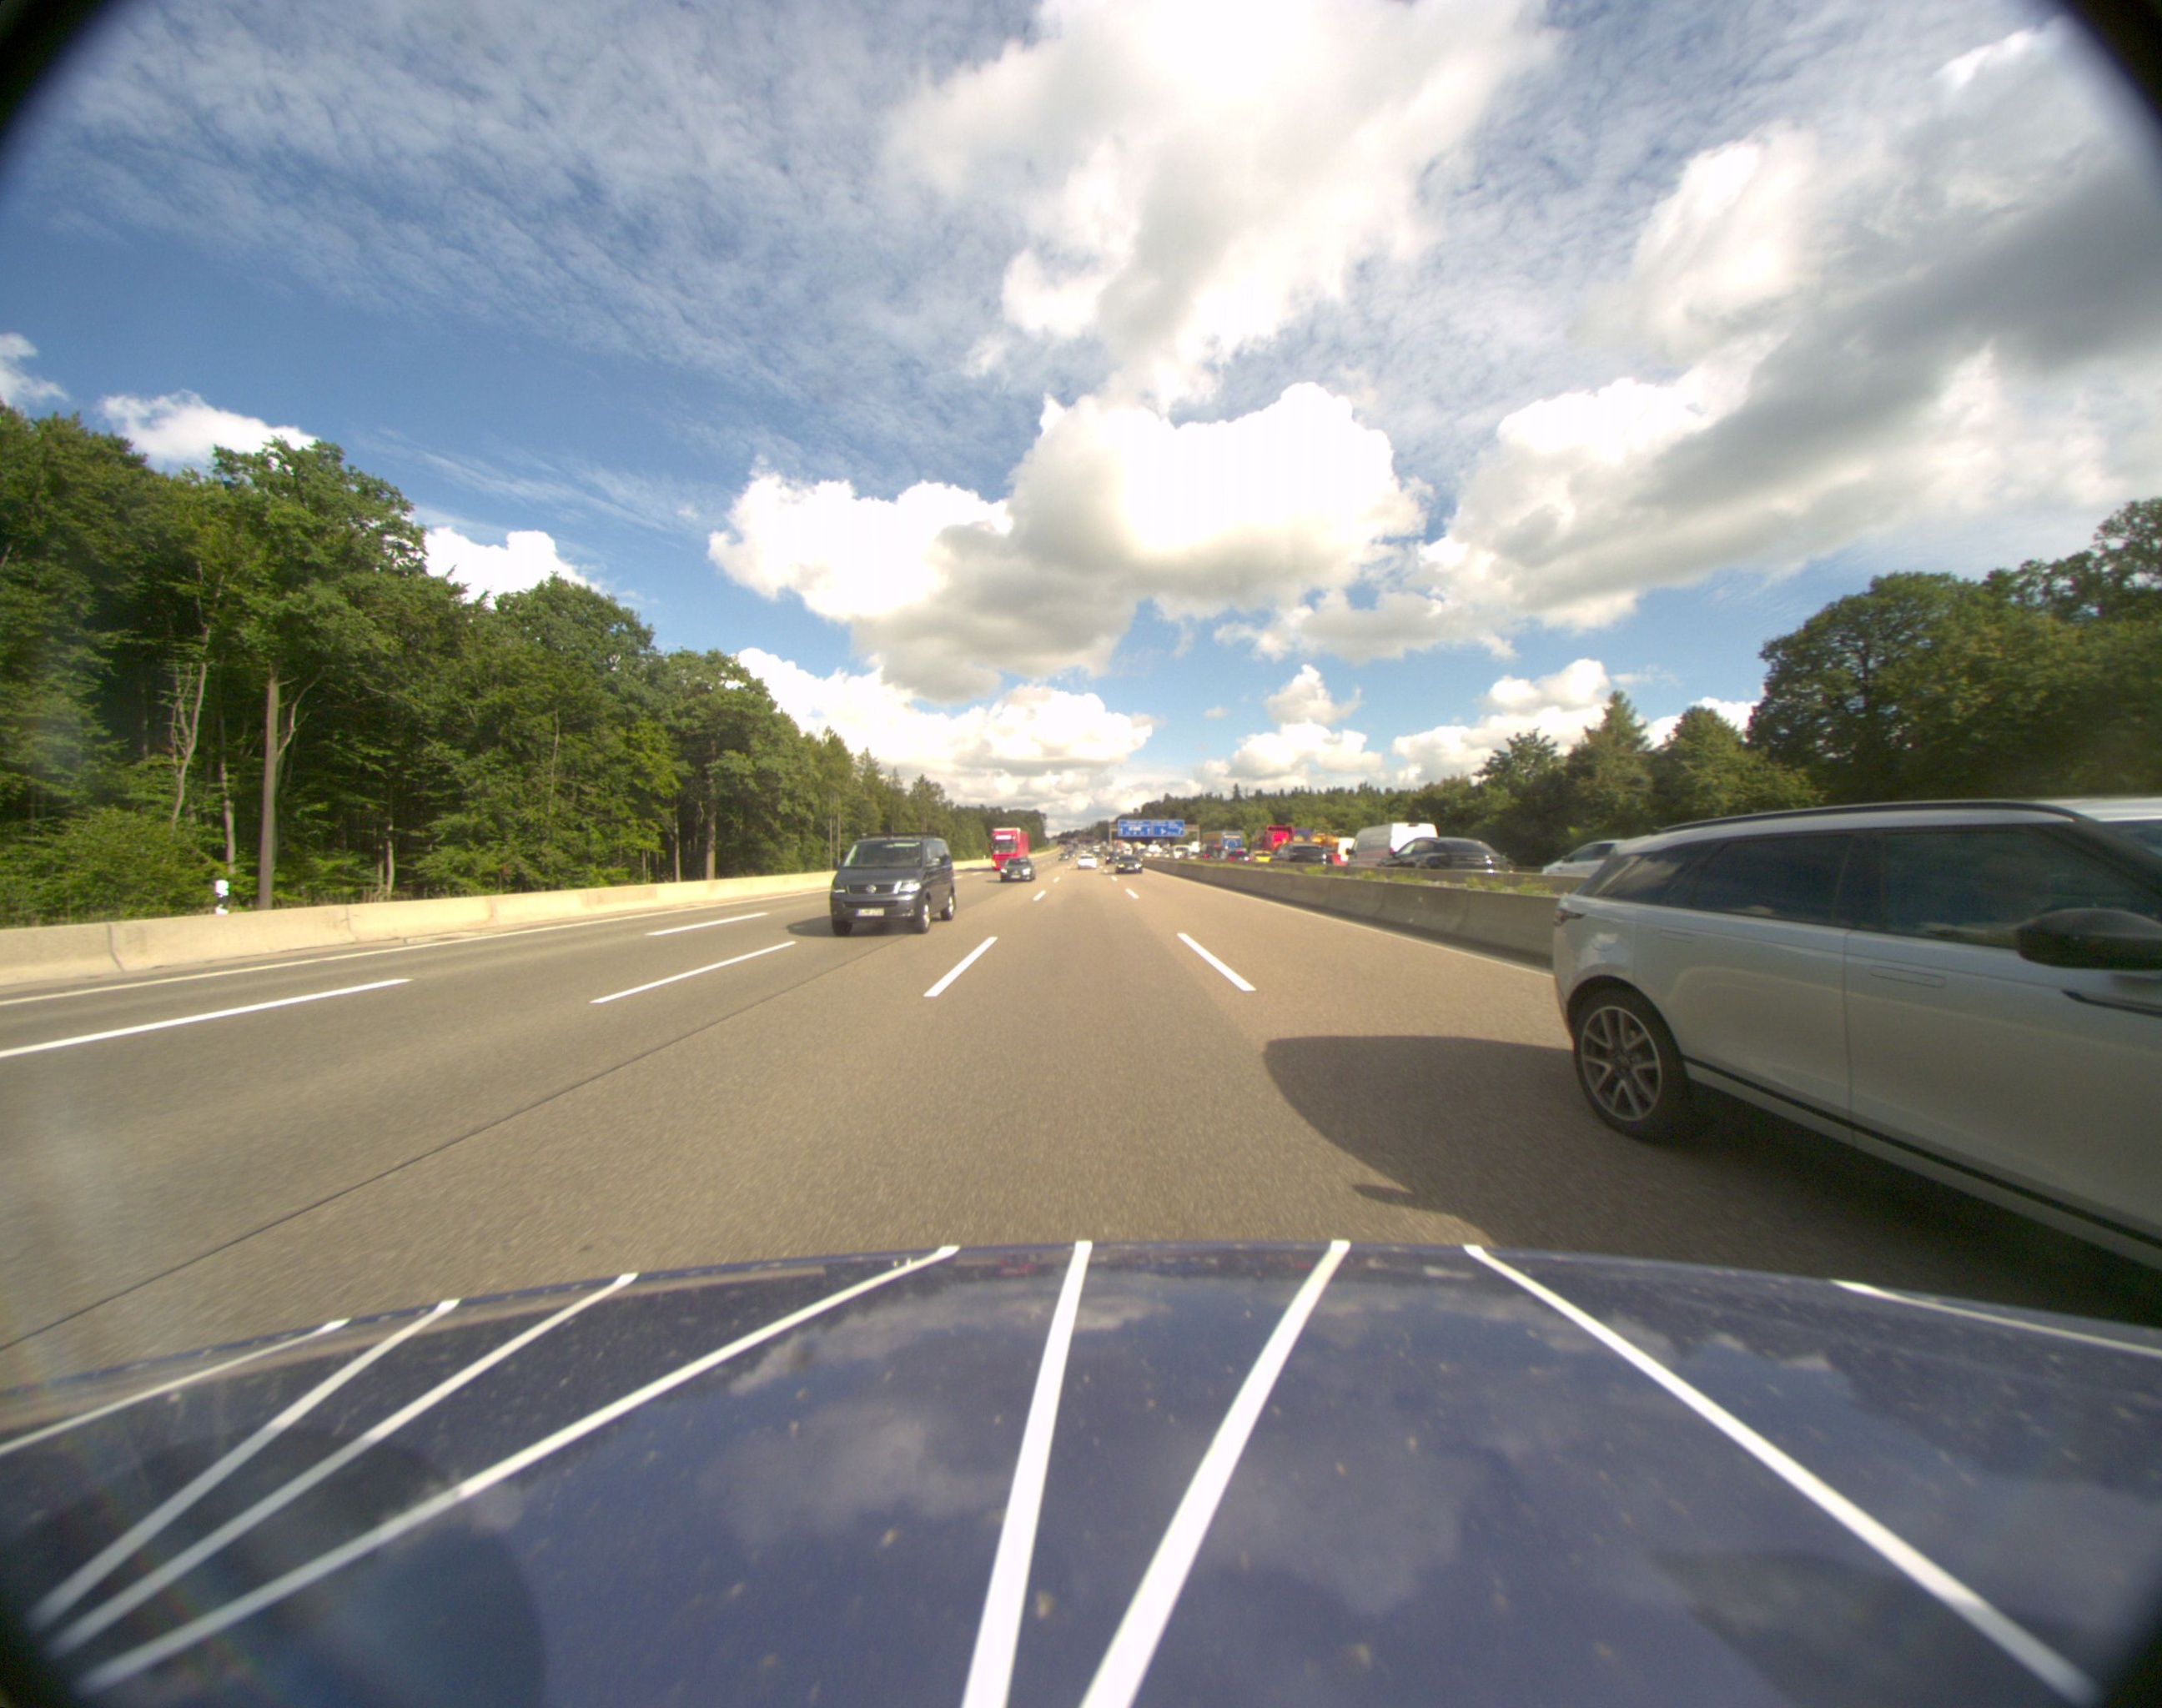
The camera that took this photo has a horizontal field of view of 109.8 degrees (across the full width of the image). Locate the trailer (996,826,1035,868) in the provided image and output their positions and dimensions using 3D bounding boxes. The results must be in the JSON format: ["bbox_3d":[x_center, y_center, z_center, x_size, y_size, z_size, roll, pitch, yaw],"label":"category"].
[{"bbox_3d":[-6.854,-0.867,81.102,2.531,4.096,14.374,-1,1,1],"label":"trailer"}]

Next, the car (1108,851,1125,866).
[{"bbox_3d":[4.399,0.548,95.281,1.911,1.582,4.286,-2,2,0],"label":"car"}]

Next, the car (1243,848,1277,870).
[{"bbox_3d":[13.965,0.341,59.448,1.640,1.582,3.999,-2,1,-1],"label":"car"}]

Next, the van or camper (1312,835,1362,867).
[{"bbox_3d":[25.930,-0.372,77.327,2.579,3.060,7.194,-2,1,-1],"label":"van or camper"}]

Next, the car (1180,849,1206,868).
[{"bbox_3d":[10.184,0.415,69.474,1.728,1.594,3.999,-2,1,-1],"label":"car"}]

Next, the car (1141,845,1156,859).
[{"bbox_3d":[10.379,-0.294,116.600,1.998,2.002,4.408,-1,2,1],"label":"car"}]

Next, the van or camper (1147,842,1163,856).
[{"bbox_3d":[14.878,-1.053,153.225,2.397,2.696,6.629,-2,2,0],"label":"van or camper"}]

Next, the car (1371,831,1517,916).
[{"bbox_3d":[9.591,0.467,20.529,1.887,2.002,4.519,-1,0,2],"label":"car"}]

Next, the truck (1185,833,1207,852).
[{"bbox_3d":[18.465,-1.877,122.459,2.334,2.785,7.948,-3,1,0],"label":"truck"}]

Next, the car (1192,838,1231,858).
[{"bbox_3d":[9.917,-0.457,58.208,1.819,1.341,6.231,-2,1,-1],"label":"car"}]

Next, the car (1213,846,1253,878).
[{"bbox_3d":[9.792,0.478,49.231,1.691,1.806,4.294,-2,2,0],"label":"car"}]

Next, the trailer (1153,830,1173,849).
[{"bbox_3d":[18.410,-3.455,171.106,2.837,3.953,15.999,-2,2,0],"label":"trailer"}]

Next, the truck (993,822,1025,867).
[{"bbox_3d":[-7.009,-0.945,74.164,2.532,4.179,4.652,-1,2,0],"label":"truck"}]

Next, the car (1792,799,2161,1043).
[{"bbox_3d":[9.829,0.530,6.988,1.910,2.002,5.091,-1,0,2],"label":"car"}]

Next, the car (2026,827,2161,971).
[{"bbox_3d":[13.295,0.538,7.643,1.998,1.587,4.523,-2,2,2],"label":"car"}]

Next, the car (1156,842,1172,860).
[{"bbox_3d":[14.237,-0.460,131.108,1.998,2.946,5.402,-3,1,0],"label":"car"}]

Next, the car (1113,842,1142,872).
[{"bbox_3d":[3.377,0.202,55.459,1.919,2.002,4.000,-2,0,2],"label":"car"}]

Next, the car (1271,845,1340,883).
[{"bbox_3d":[10.050,0.394,34.375,1.841,1.582,4.288,0,1,-1],"label":"car"}]

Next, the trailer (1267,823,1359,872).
[{"bbox_3d":[18.001,-0.473,60.395,2.735,3.316,14.217,-2,0,-1],"label":"trailer"}]

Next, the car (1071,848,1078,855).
[{"bbox_3d":[-1.630,-0.665,193.070,1.804,1.865,3.950,-1,1,0],"label":"car"}]

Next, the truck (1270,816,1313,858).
[{"bbox_3d":[21.826,-1.696,79.028,2.819,4.125,5.452,-2,1,-1],"label":"truck"}]

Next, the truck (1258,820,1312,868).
[{"bbox_3d":[17.923,-0.856,67.325,2.783,3.915,6.852,-2,1,-1],"label":"truck"}]

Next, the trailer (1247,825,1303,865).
[{"bbox_3d":[21.933,-1.231,86.959,2.816,4.097,14.036,-2,2,1],"label":"trailer"}]

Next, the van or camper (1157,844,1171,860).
[{"bbox_3d":[15.373,-0.430,141.383,2.050,2.696,5.749,-2,2,1],"label":"van or camper"}]

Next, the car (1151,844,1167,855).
[{"bbox_3d":[10.509,-0.605,102.666,1.761,1.369,3.999,-2,1,-1],"label":"car"}]

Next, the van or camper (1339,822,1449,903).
[{"bbox_3d":[13.686,0.316,33.710,2.144,3.154,6.243,-2,1,-1],"label":"van or camper"}]

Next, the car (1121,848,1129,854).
[{"bbox_3d":[10.981,-0.851,189.698,1.700,1.364,4.000,-3,0,1],"label":"car"}]

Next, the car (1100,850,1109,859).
[{"bbox_3d":[5.108,0.121,167.679,1.804,1.783,3.757,-1,1,0],"label":"car"}]

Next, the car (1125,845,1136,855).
[{"bbox_3d":[11.202,-1.010,171.831,1.998,2.088,5.276,-2,2,1],"label":"car"}]

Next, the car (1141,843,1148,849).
[{"bbox_3d":[20.002,-2.656,239.219,1.804,1.865,3.950,-1,1,0],"label":"car"}]

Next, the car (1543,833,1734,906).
[{"bbox_3d":[13.959,0.303,19.369,1.998,1.587,3.999,-2,2,2],"label":"car"}]

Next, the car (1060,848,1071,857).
[{"bbox_3d":[-2.865,-0.284,142.477,1.911,1.582,4.285,-2,2,-2],"label":"car"}]

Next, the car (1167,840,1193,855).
[{"bbox_3d":[10.219,-0.689,78.944,1.854,1.347,5.486,-2,2,0],"label":"car"}]

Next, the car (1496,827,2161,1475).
[{"bbox_3d":[3.635,0.725,2.328,1.905,1.597,5.104,-2,1,0],"label":"car"}]

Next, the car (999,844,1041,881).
[{"bbox_3d":[-3.518,0.469,44.766,1.998,2.002,4.000,-1,0,2],"label":"car"}]

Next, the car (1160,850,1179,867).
[{"bbox_3d":[10.487,0.459,90.334,1.691,1.806,4.294,-2,2,0],"label":"car"}]

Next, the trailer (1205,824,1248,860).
[{"bbox_3d":[18.496,-1.662,97.657,2.778,4.211,13.654,-2,2,0],"label":"trailer"}]

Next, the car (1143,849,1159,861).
[{"bbox_3d":[10.894,0.114,118.164,1.998,1.733,4.294,-3,1,0],"label":"car"}]

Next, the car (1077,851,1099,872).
[{"bbox_3d":[0.700,0.712,74.843,1.998,2.002,4.000,-2,0,2],"label":"car"}]

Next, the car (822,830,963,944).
[{"bbox_3d":[-3.987,0.608,17.012,1.927,2.153,4.960,-1,1,-1],"label":"car"}]

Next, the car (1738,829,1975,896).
[{"bbox_3d":[26.387,0.165,26.356,1.890,2.002,6.325,-2,2,2],"label":"car"}]

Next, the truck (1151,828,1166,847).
[{"bbox_3d":[18.473,-3.955,180.771,2.860,4.210,5.712,-2,1,1],"label":"truck"}]
